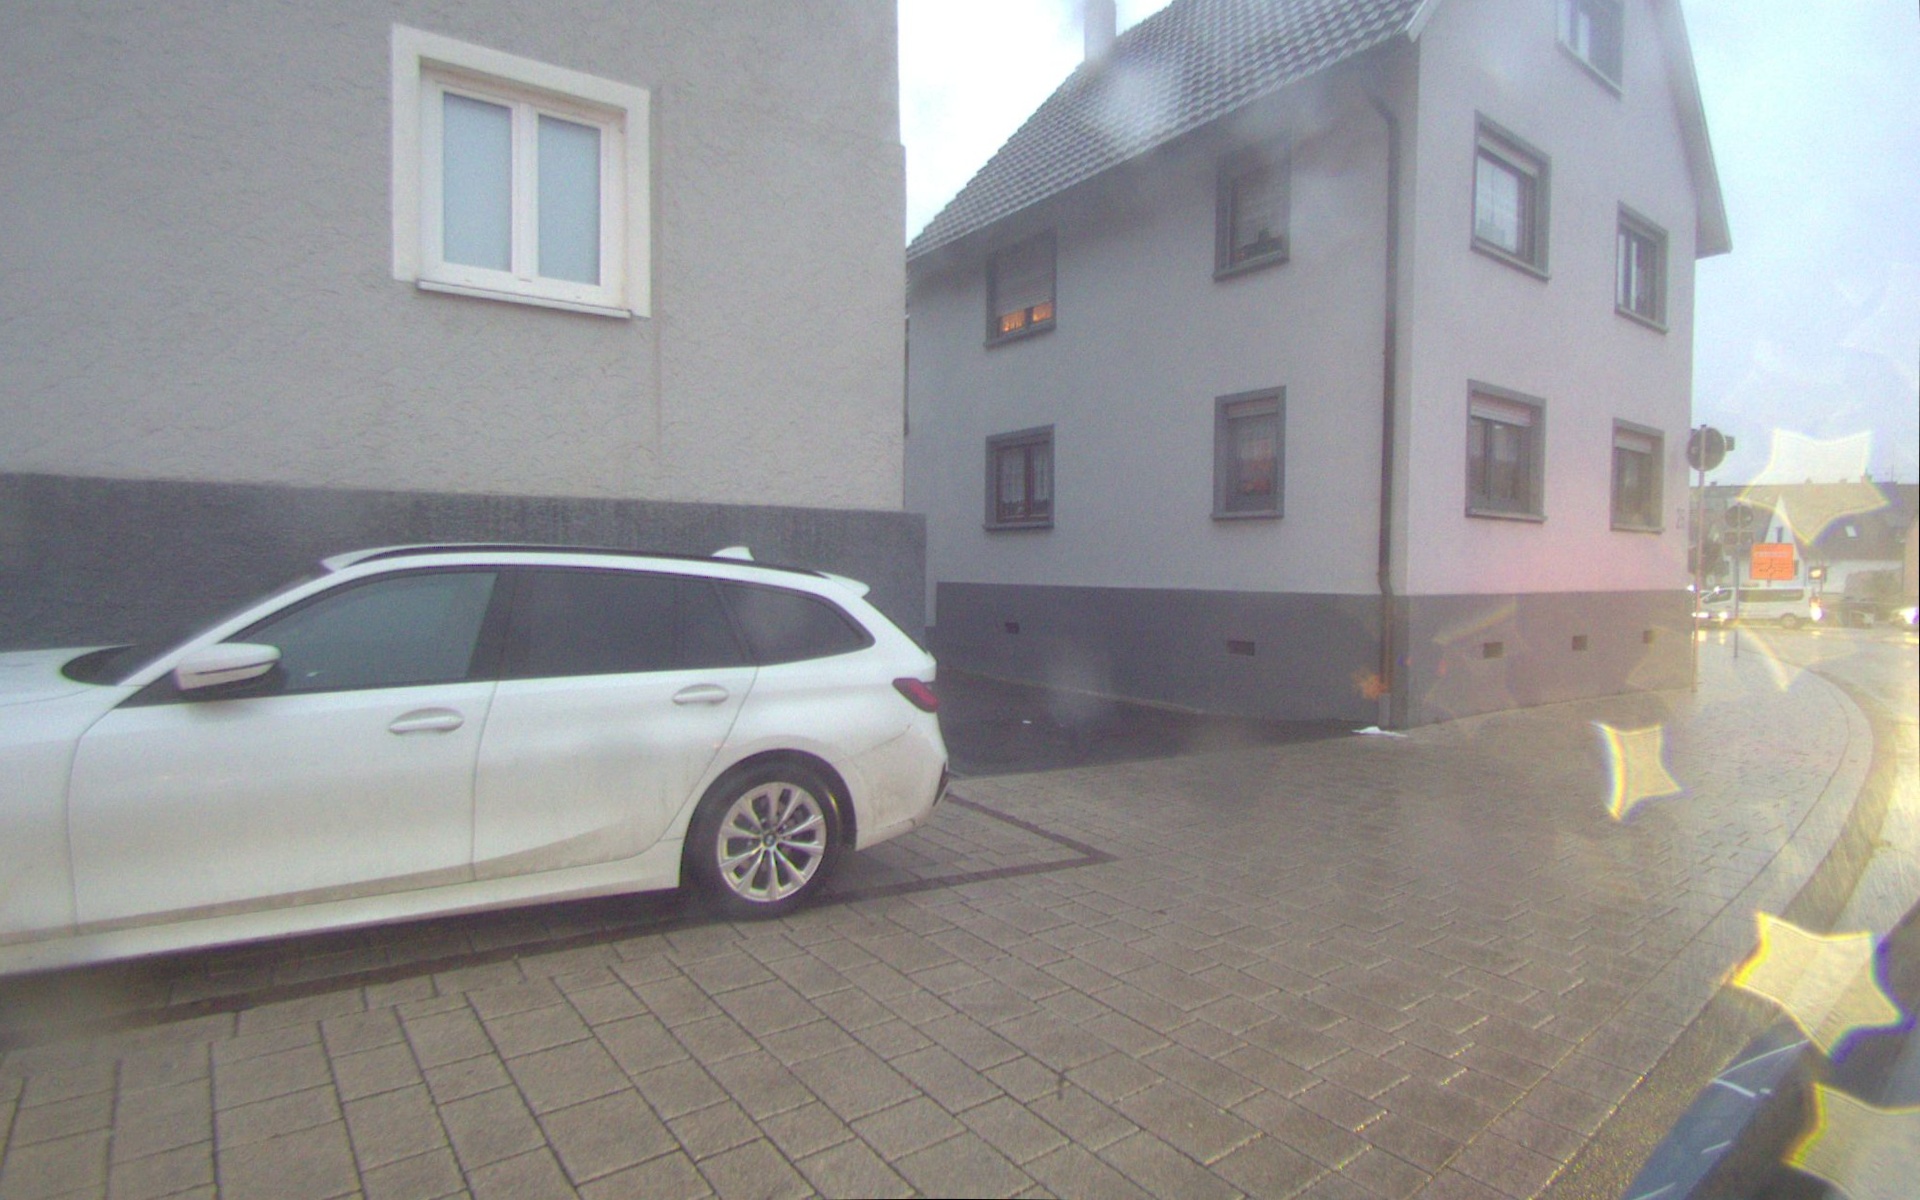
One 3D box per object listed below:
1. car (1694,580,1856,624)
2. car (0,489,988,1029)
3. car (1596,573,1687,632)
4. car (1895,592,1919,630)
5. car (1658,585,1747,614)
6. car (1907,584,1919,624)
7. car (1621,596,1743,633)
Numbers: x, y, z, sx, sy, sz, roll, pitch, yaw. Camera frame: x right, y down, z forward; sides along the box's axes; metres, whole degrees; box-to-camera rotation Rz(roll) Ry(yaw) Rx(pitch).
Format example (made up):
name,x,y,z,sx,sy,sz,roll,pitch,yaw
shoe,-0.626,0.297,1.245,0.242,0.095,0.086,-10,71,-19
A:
name,x,y,z,sx,sy,sz,roll,pitch,yaw
car,38.425,0.088,47.863,1.956,1.970,5.769,1,0,-41
car,-2.285,0.403,4.083,4.452,1.484,1.892,1,2,-31
car,24.773,0.056,36.938,1.959,1.984,4.810,1,1,25
car,44.030,0.597,43.840,4.728,1.656,1.980,4,1,29
car,49.462,-0.043,67.490,4.370,1.824,1.833,2,1,19
car,41.493,0.217,40.700,4.393,1.652,2.142,1,1,20
car,32.769,0.638,46.046,1.851,1.524,4.121,0,1,-25
